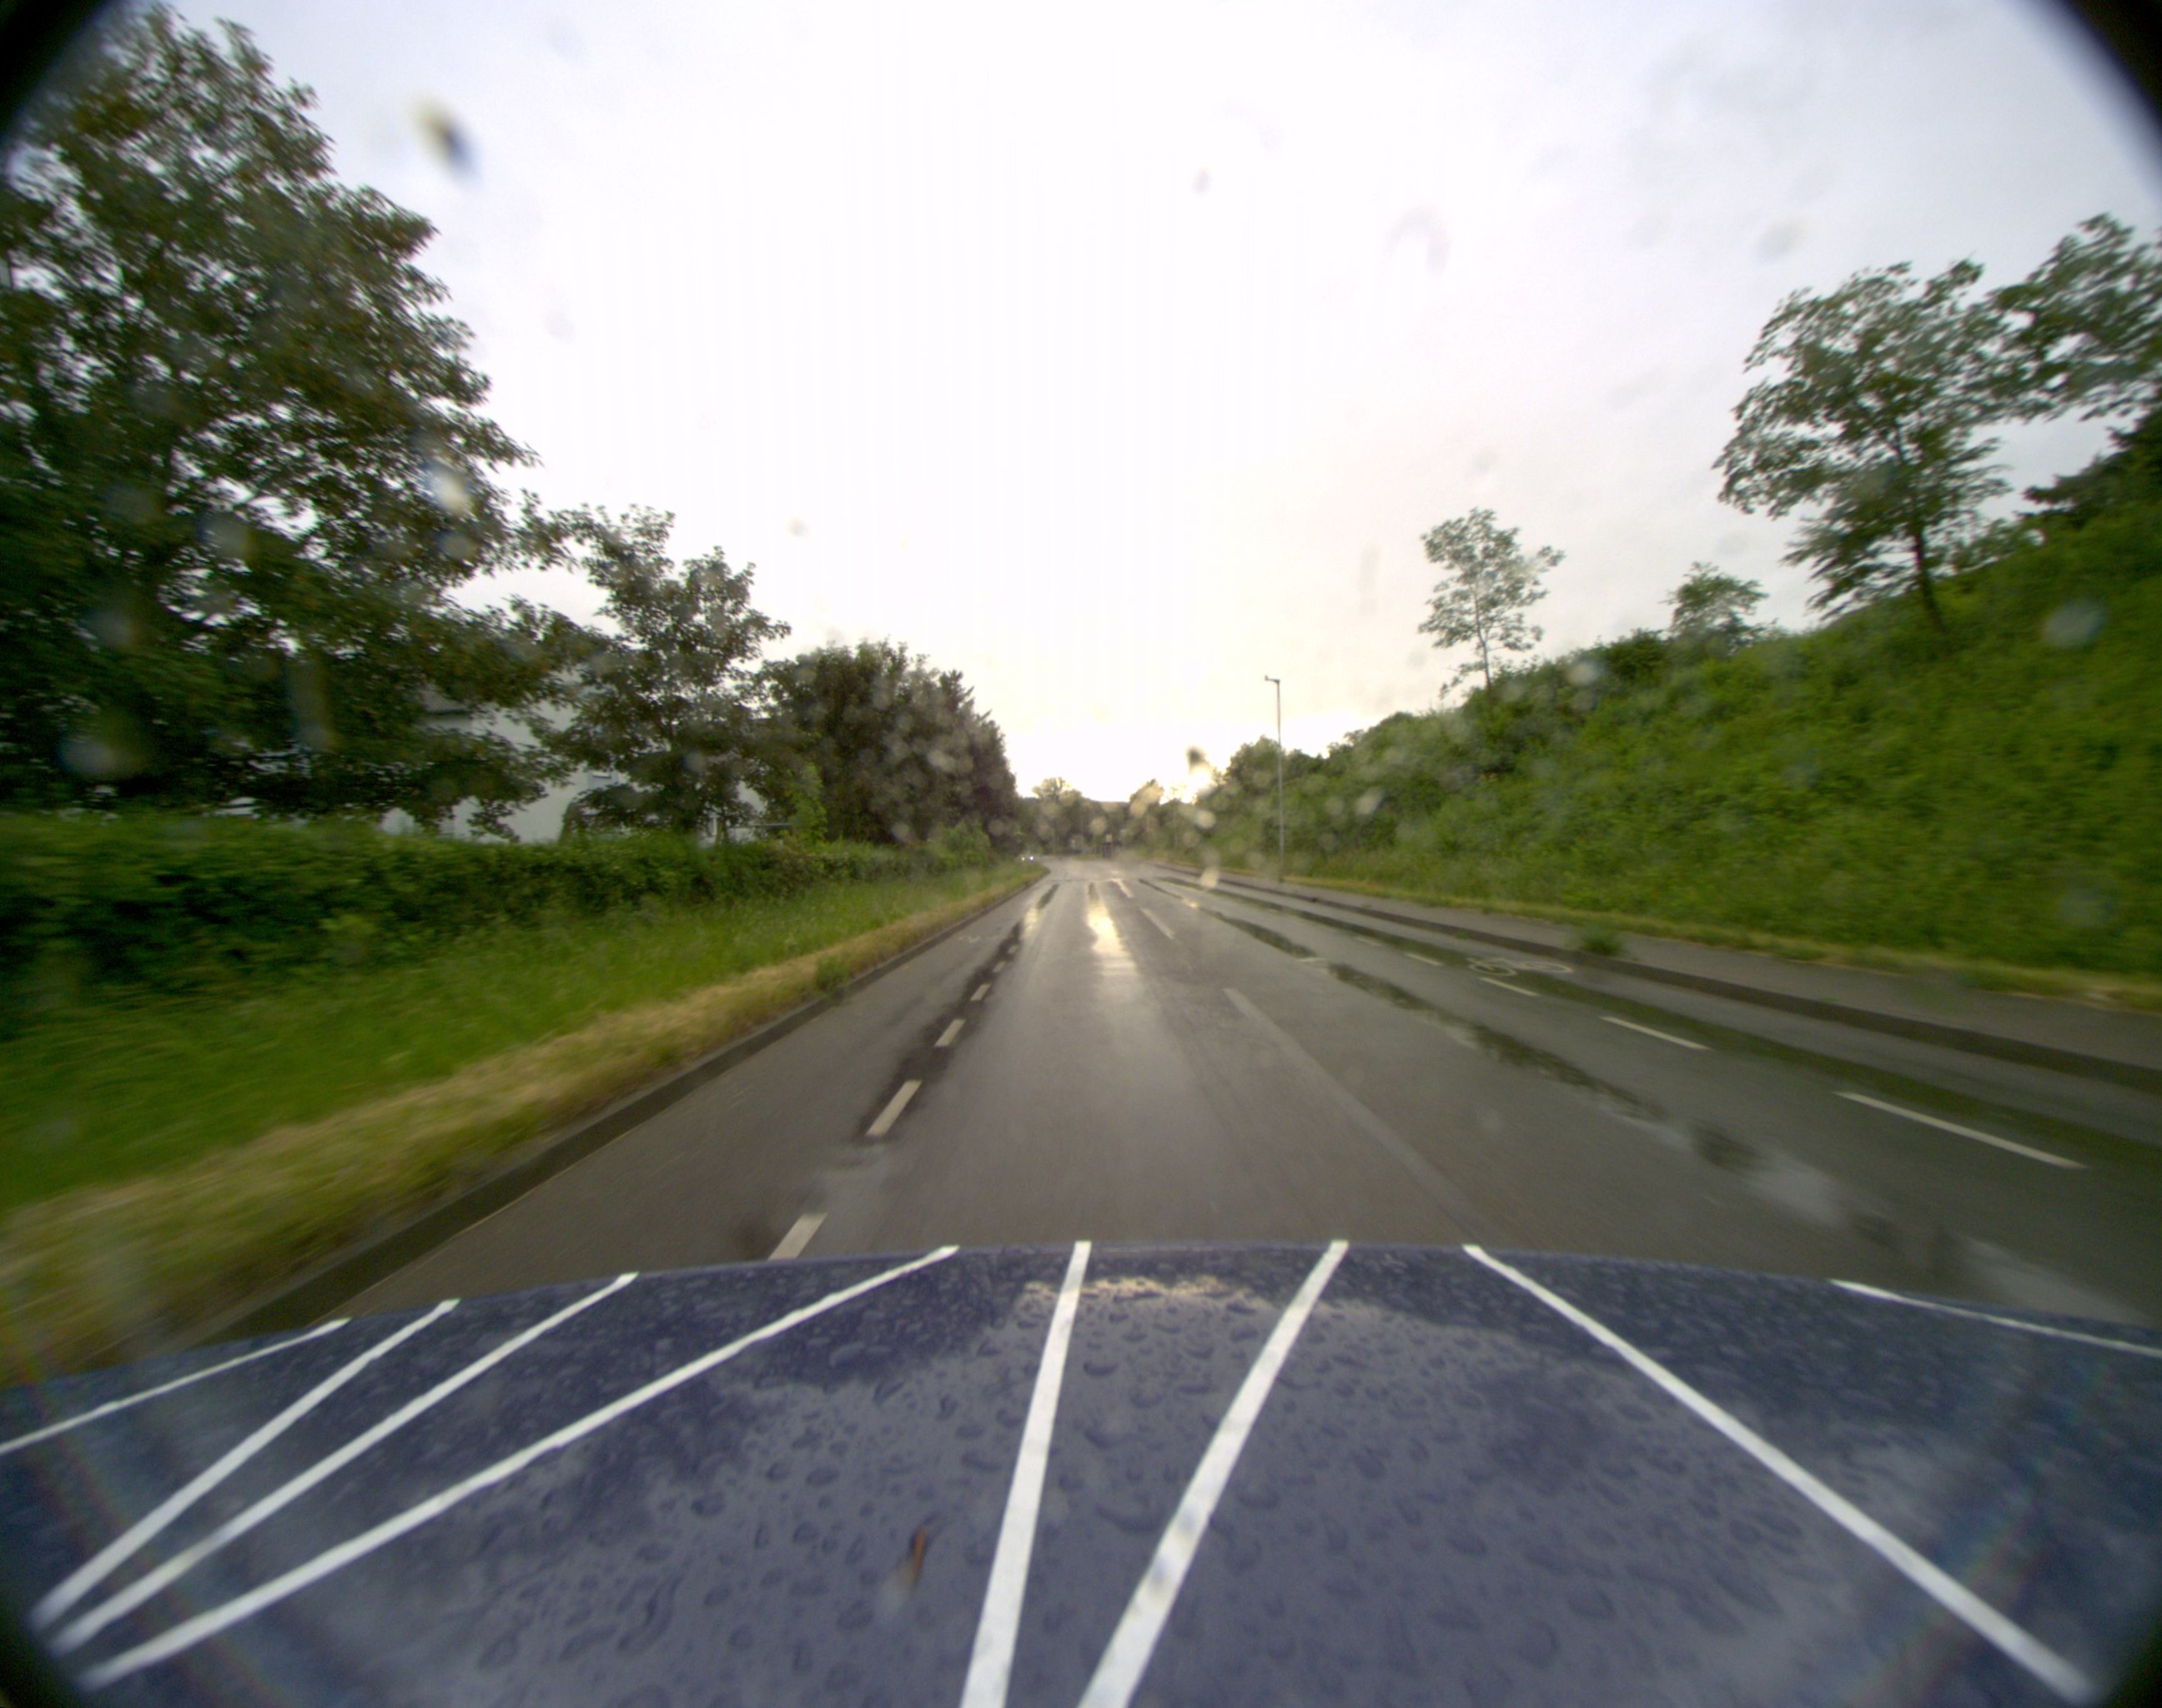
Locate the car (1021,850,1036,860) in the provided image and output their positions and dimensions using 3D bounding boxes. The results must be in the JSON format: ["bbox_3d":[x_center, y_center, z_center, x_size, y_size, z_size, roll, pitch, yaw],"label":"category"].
[{"bbox_3d":[-8.260,0.142,120.033,1.881,1.596,3.995,0,1,-12],"label":"car"}]
